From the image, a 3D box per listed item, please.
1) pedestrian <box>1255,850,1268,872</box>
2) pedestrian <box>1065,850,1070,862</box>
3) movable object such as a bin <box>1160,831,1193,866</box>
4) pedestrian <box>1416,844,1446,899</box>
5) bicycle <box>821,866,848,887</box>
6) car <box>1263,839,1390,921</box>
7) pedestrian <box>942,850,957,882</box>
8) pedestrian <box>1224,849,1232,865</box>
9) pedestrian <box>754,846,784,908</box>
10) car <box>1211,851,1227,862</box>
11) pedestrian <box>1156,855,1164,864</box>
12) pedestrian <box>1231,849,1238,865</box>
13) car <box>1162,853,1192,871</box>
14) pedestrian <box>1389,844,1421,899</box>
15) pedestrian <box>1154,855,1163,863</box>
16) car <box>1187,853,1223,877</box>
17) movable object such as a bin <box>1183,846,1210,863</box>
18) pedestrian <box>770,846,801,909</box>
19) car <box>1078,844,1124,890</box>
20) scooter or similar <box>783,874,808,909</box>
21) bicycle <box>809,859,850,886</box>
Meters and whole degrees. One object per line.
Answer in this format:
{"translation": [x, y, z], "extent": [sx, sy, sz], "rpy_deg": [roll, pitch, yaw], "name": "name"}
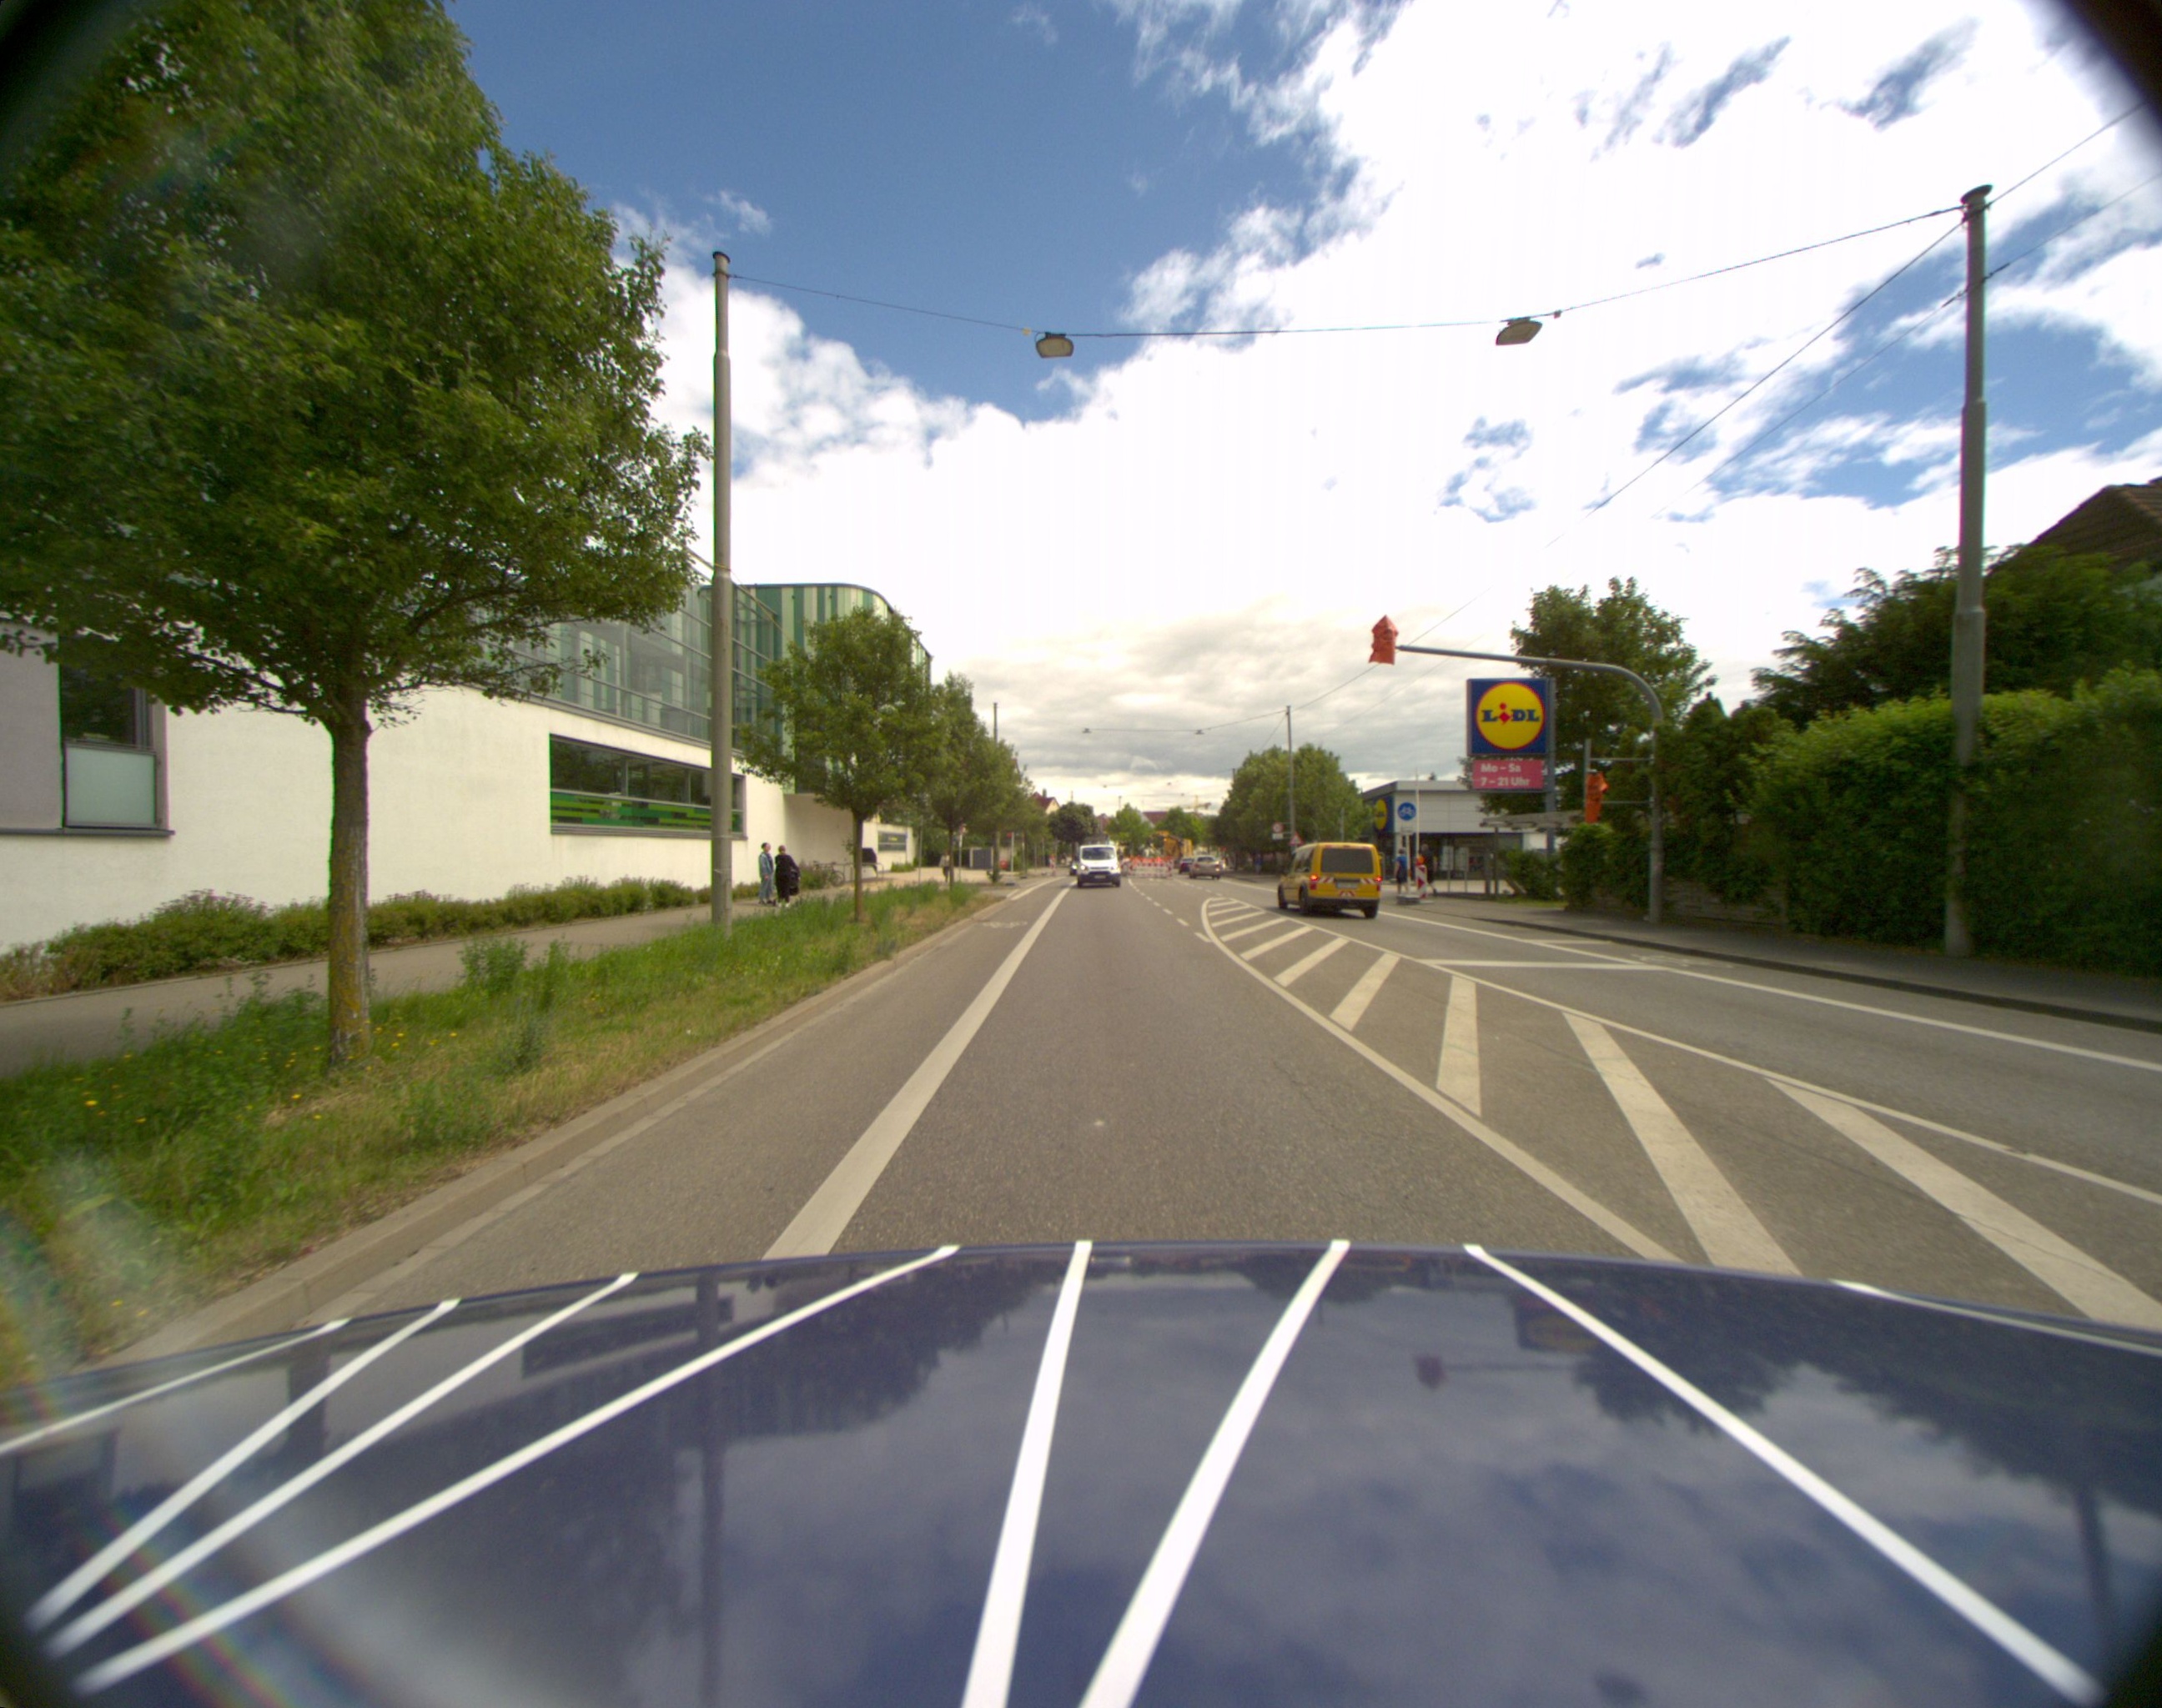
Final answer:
{"translation": [13.217, 0.543, 55.680], "extent": [0.754, 1.593, 0.829], "rpy_deg": [0, 1, -2], "name": "pedestrian"}
{"translation": [-1.677, 0.215, 96.449], "extent": [0.522, 1.531, 0.636], "rpy_deg": [1, 1, -5], "name": "pedestrian"}
{"translation": [12.347, -0.656, 97.079], "extent": [2.594, 4.197, 11.134], "rpy_deg": [1, 0, 15], "name": "movable object such as a bin"}
{"translation": [11.937, 0.578, 25.956], "extent": [0.683, 1.844, 0.706], "rpy_deg": [0, 1, 1], "name": "pedestrian"}
{"translation": [-10.099, 0.906, 31.112], "extent": [1.027, 0.837, 0.306], "rpy_deg": [0, 1, -32], "name": "bicycle"}
{"translation": [6.250, 0.589, 19.941], "extent": [1.846, 1.893, 4.685], "rpy_deg": [1, 0, 1], "name": "car"}
{"translation": [-6.539, 0.584, 37.916], "extent": [0.582, 1.542, 0.869], "rpy_deg": [1, 1, 1], "name": "pedestrian"}
{"translation": [16.433, 0.312, 84.888], "extent": [0.695, 1.836, 0.624], "rpy_deg": [1, 1, 29], "name": "pedestrian"}
{"translation": [-8.366, 0.602, 20.395], "extent": [0.551, 1.645, 0.607], "rpy_deg": [1, 1, 1], "name": "pedestrian"}
{"translation": [19.211, 0.305, 105.863], "extent": [1.858, 1.504, 4.001], "rpy_deg": [1, 0, 5], "name": "car"}
{"translation": [9.419, 0.647, 90.507], "extent": [0.641, 0.985, 0.795], "rpy_deg": [1, 1, 39], "name": "pedestrian"}
{"translation": [16.938, 0.333, 83.814], "extent": [0.625, 1.836, 0.624], "rpy_deg": [1, 1, 29], "name": "pedestrian"}
{"translation": [8.203, 0.678, 65.306], "extent": [1.998, 1.391, 4.810], "rpy_deg": [2, 0, 1], "name": "car"}
{"translation": [11.071, 0.581, 25.999], "extent": [0.683, 1.844, 0.892], "rpy_deg": [0, 1, 1], "name": "pedestrian"}
{"translation": [9.335, 0.621, 91.548], "extent": [0.791, 0.985, 0.813], "rpy_deg": [1, 1, 29], "name": "pedestrian"}
{"translation": [8.265, 0.690, 50.889], "extent": [1.754, 1.546, 4.402], "rpy_deg": [1, 0, 1], "name": "car"}
{"translation": [18.629, 0.123, 122.003], "extent": [1.994, 2.610, 6.535], "rpy_deg": [1, 0, 29], "name": "movable object such as a bin"}
{"translation": [-7.764, 0.604, 19.991], "extent": [0.606, 1.645, 0.552], "rpy_deg": [1, 1, 0], "name": "pedestrian"}
{"translation": [0.913, 0.550, 35.898], "extent": [1.998, 2.002, 5.513], "rpy_deg": [-1, 0, 1], "name": "car"}
{"translation": [-7.670, 1.012, 20.442], "extent": [0.422, 0.900, 0.682], "rpy_deg": [1, 1, 1], "name": "scooter or similar"}
{"translation": [-9.946, 0.729, 30.066], "extent": [1.470, 1.039, 0.307], "rpy_deg": [1, 1, -11], "name": "bicycle"}
